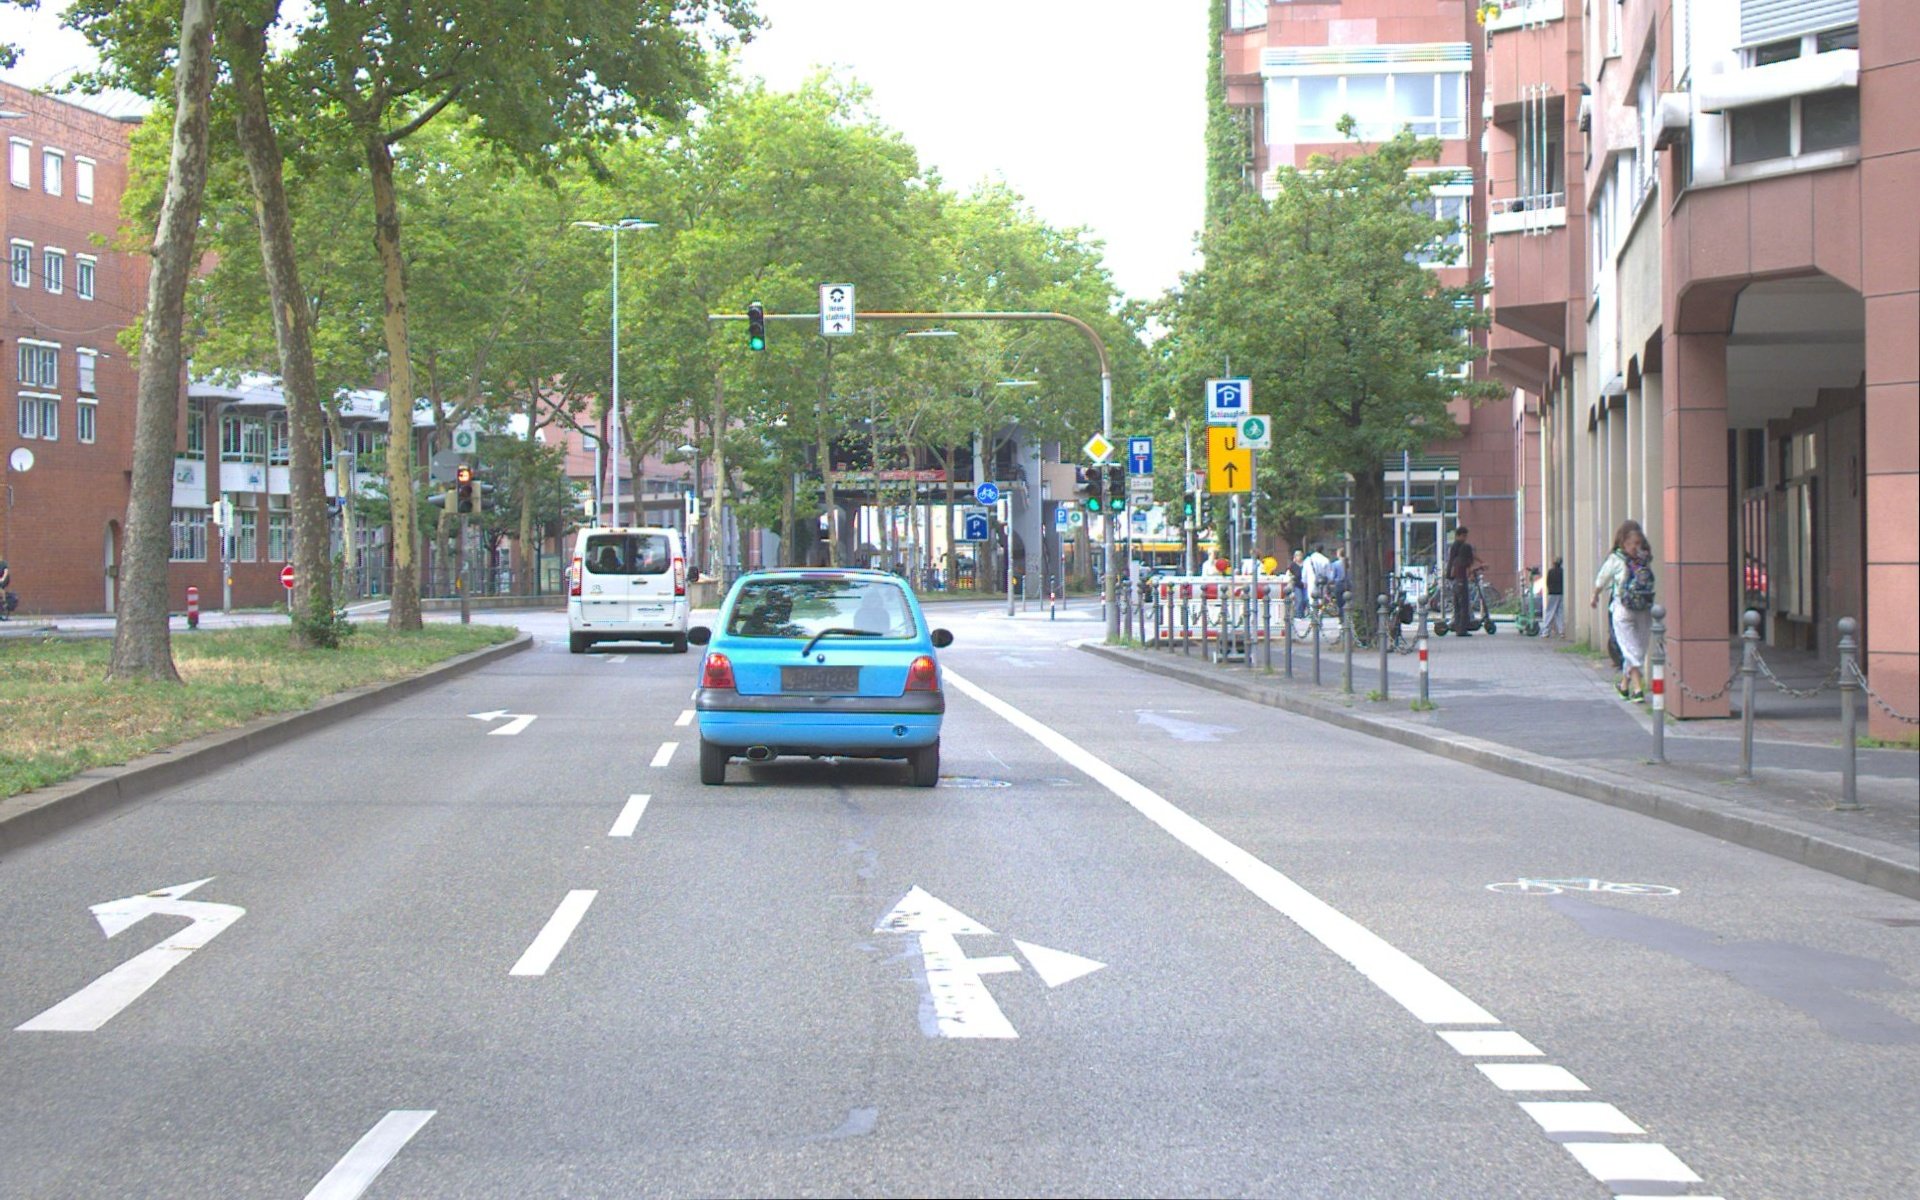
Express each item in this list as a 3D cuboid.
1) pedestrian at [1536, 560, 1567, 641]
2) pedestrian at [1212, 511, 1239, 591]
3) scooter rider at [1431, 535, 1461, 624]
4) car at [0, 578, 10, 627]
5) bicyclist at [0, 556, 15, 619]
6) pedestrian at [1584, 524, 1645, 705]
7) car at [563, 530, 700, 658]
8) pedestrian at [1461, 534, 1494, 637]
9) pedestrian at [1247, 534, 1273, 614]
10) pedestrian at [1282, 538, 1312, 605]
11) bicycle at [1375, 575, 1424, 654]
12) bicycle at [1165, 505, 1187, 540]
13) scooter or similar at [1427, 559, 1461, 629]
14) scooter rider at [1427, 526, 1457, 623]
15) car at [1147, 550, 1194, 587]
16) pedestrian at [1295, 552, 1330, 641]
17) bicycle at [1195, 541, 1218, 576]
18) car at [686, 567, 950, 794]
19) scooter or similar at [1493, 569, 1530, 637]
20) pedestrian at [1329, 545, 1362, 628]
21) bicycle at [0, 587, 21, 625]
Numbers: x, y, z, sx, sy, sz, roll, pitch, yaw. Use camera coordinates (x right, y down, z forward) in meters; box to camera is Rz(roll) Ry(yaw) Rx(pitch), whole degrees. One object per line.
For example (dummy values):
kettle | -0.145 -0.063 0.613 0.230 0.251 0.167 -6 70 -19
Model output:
pedestrian | 9.749 0.004 56.681 0.487 1.319 0.485 0 0 11
pedestrian | 5.383 -0.986 69.667 0.517 1.610 0.851 0 1 2
scooter rider | 8.474 -0.359 59.994 0.460 1.552 0.565 0 0 2
car | -25.105 0.079 85.903 1.729 1.241 4.535 0 1 -4
bicyclist | -28.662 -0.374 102.376 0.667 1.842 1.081 -1 1 2
pedestrian | 6.013 0.125 31.596 0.544 1.644 0.825 0 1 11
car | -5.173 -0.139 54.657 1.931 1.919 4.956 0 1 -3
pedestrian | 9.055 -0.262 60.159 0.551 1.793 0.657 0 0 8
pedestrian | 6.050 -0.531 69.357 0.517 1.610 0.851 0 1 4
pedestrian | 7.769 -0.665 79.212 0.675 1.533 0.947 0 0 5
bicycle | 6.355 0.196 49.716 0.612 1.114 1.804 0 1 4
bicycle | 6.333 -2.258 100.760 0.617 1.005 1.735 0 0 3
scooter or similar | 8.480 -0.109 60.227 0.474 1.202 1.330 0 1 3
scooter rider | 8.497 -0.449 60.577 0.462 1.714 0.553 0 0 1
car | 9.267 -1.402 151.311 1.699 1.596 3.999 0 1 9
pedestrian | 7.210 -0.079 70.348 0.676 1.822 0.851 0 1 4
bicycle | 7.240 -1.207 100.910 0.617 1.005 1.735 0 0 3
car | -0.971 0.486 23.391 1.640 1.381 3.843 0 1 -2
scooter or similar | 9.580 0.043 59.727 0.553 1.166 1.406 0 1 6
pedestrian | 7.887 -0.282 70.329 0.652 1.695 1.022 0 1 5
bicycle | -28.654 0.169 102.453 0.677 1.089 2.209 -1 1 2
